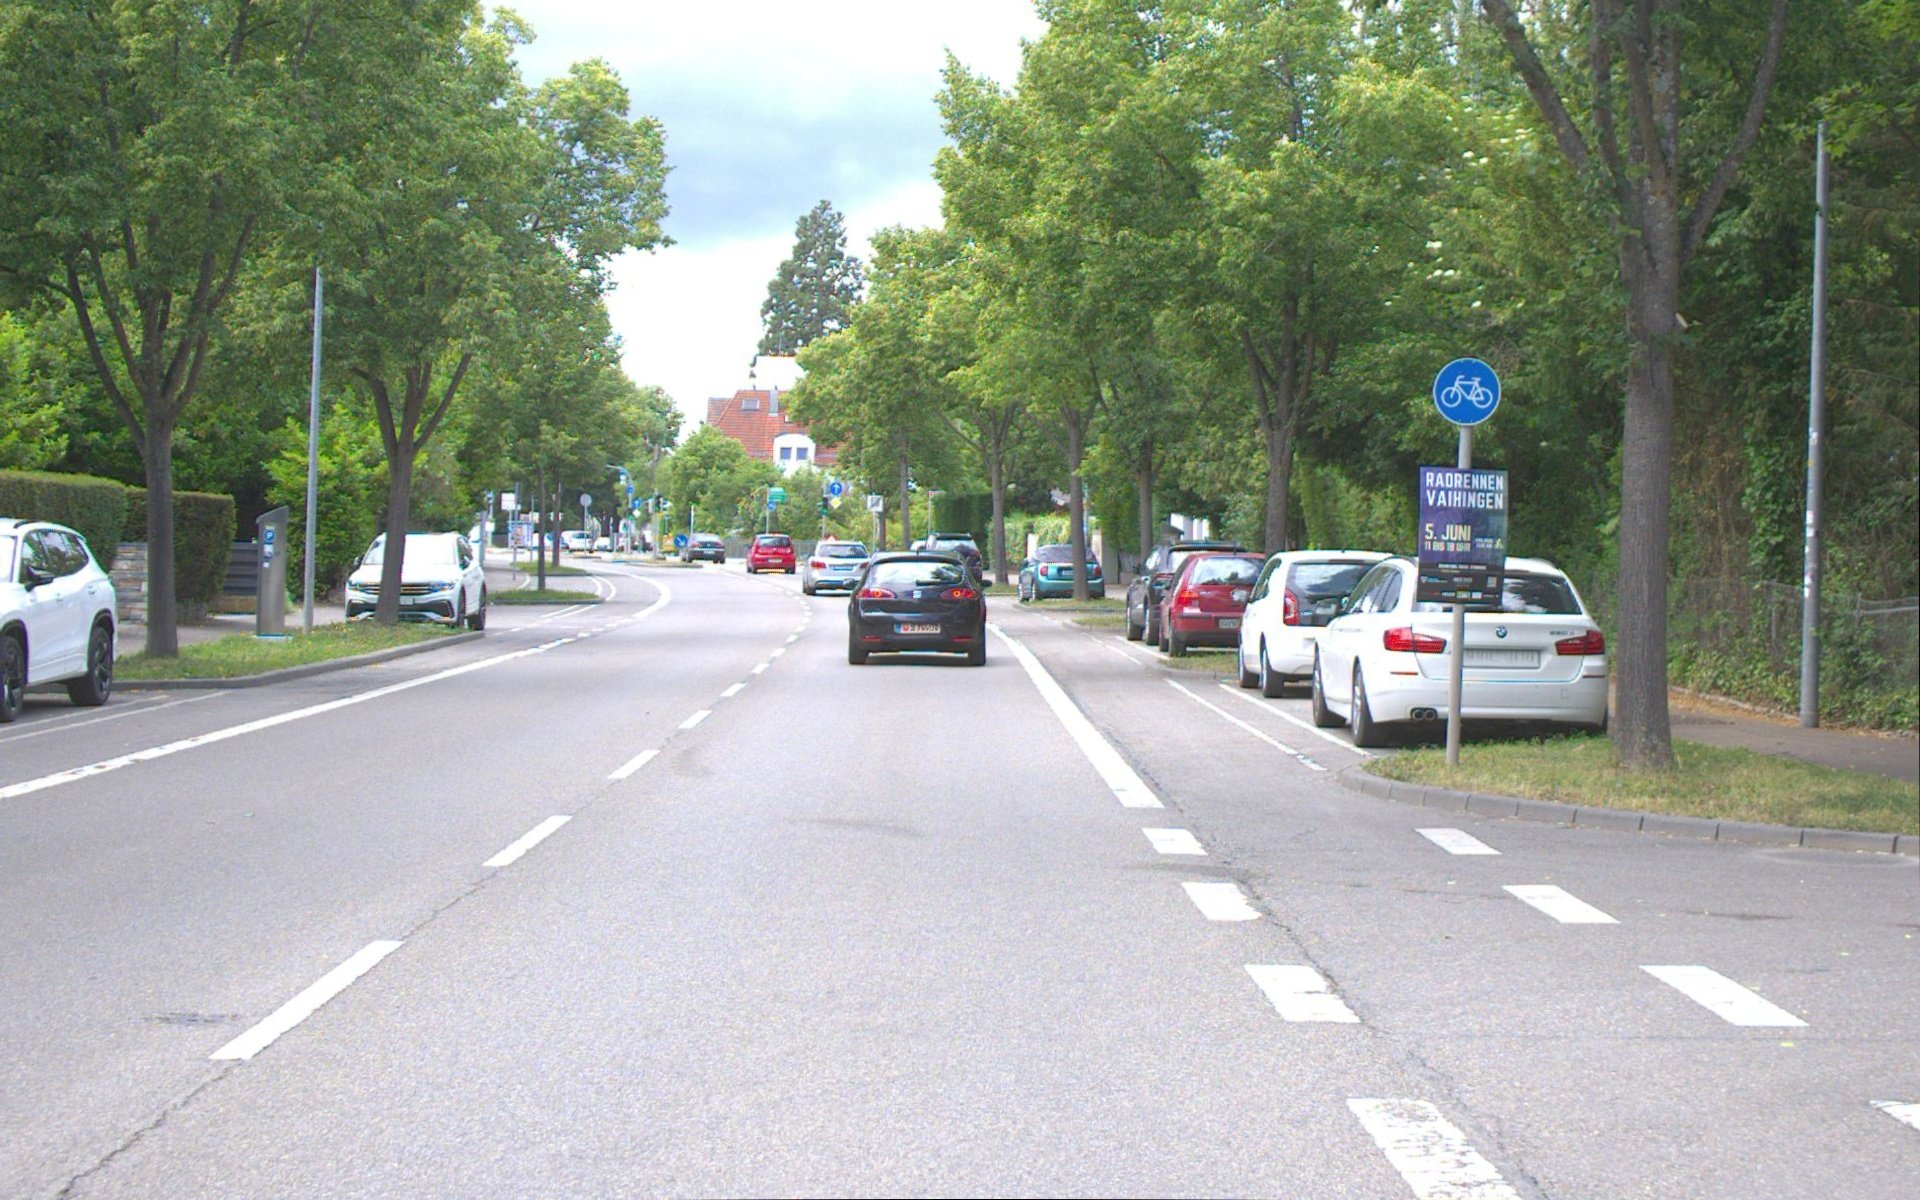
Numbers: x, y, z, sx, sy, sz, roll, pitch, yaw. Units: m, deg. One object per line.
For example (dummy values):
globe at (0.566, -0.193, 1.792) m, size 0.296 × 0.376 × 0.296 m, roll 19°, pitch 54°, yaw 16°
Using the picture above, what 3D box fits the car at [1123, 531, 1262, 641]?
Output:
car at (3.551, -0.251, 53.152) m, size 1.638 × 1.610 × 4.170 m, roll 1°, pitch 1°, yaw -3°

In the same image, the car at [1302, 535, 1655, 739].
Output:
car at (4.000, 0.222, 27.373) m, size 2.021 × 1.438 × 5.025 m, roll 1°, pitch 1°, yaw 0°

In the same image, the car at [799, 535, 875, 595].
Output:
car at (-3.317, -0.965, 92.765) m, size 1.993 × 1.552 × 4.001 m, roll 0°, pitch 1°, yaw -2°

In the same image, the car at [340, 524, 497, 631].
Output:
car at (-8.862, -0.400, 56.601) m, size 1.873 × 1.682 × 4.866 m, roll 0°, pitch 1°, yaw -1°

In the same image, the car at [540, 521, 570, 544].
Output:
car at (-30.028, -4.978, 254.789) m, size 1.973 × 1.670 × 3.877 m, roll 1°, pitch 1°, yaw -4°

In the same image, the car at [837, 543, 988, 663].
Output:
car at (-0.643, 0.013, 43.778) m, size 1.783 × 1.444 × 3.558 m, roll 1°, pitch 1°, yaw -3°

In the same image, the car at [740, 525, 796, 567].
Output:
car at (-7.186, -2.027, 128.622) m, size 1.993 × 1.525 × 4.001 m, roll 0°, pitch 1°, yaw -4°

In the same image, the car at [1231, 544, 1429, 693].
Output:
car at (3.794, 0.150, 35.781) m, size 1.615 × 1.455 × 3.657 m, roll 0°, pitch 1°, yaw -1°

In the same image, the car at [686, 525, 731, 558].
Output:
car at (-11.937, -2.764, 162.999) m, size 1.993 × 1.503 × 4.001 m, roll 1°, pitch 0°, yaw -5°

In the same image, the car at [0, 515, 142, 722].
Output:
car at (-8.504, 0.097, 29.302) m, size 1.817 × 1.646 × 4.699 m, roll 1°, pitch 1°, yaw 1°

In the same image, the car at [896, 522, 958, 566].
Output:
car at (-1.130, -1.897, 116.047) m, size 1.685 × 1.444 × 3.580 m, roll 1°, pitch 1°, yaw -7°

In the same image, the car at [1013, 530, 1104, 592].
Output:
car at (2.345, -0.956, 82.674) m, size 1.683 × 1.427 × 4.045 m, roll 0°, pitch 1°, yaw -6°

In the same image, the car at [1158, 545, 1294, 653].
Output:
car at (3.643, -0.044, 47.676) m, size 1.638 × 1.415 × 4.000 m, roll 0°, pitch 1°, yaw 1°

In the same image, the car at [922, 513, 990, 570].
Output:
car at (-0.149, -1.863, 110.172) m, size 1.788 × 1.765 × 3.983 m, roll 1°, pitch 1°, yaw -6°
